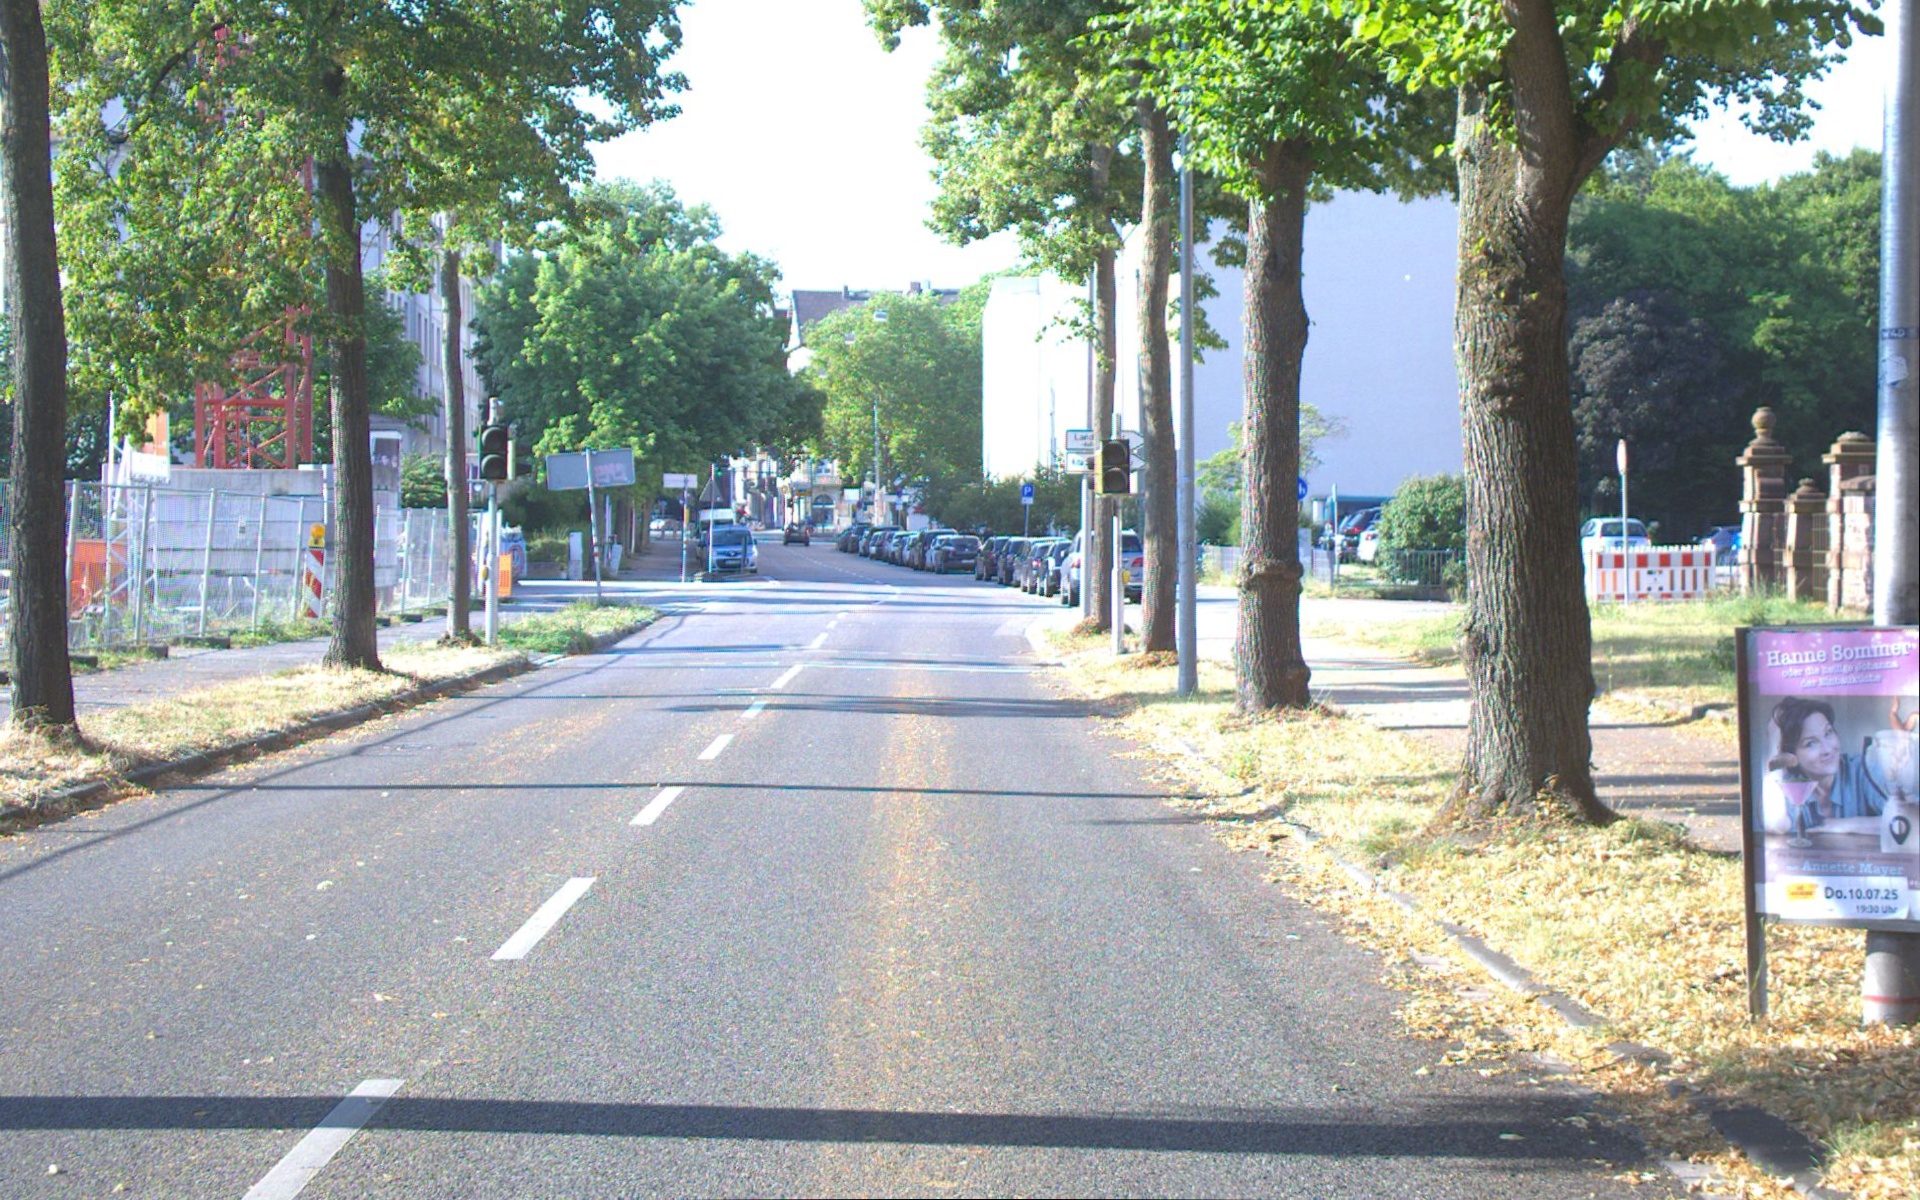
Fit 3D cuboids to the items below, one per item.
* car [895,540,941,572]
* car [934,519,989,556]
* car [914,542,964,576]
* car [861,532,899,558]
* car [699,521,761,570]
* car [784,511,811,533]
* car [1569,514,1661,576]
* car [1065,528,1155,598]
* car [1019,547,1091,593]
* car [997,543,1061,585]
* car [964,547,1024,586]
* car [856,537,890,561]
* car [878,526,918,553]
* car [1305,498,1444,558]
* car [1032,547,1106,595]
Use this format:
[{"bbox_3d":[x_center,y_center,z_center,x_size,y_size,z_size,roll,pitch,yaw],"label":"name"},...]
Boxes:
[{"bbox_3d":[-1.930,-1.997,155.306,1.841,1.381,4.001,0,1,-4],"label":"car"},{"bbox_3d":[0.049,-2.408,132.386,1.841,1.381,4.001,0,1,-4],"label":"car"},{"bbox_3d":[-0.884,-1.702,143.055,1.841,1.381,4.001,0,1,-4],"label":"car"},{"bbox_3d":[-4.259,-2.919,182.361,1.841,1.381,4.001,0,1,-4],"label":"car"},{"bbox_3d":[-8.013,-1.888,119.449,1.993,1.682,4.001,0,1,-6],"label":"car"},{"bbox_3d":[-11.159,-5.346,236.124,1.714,1.481,4.001,-1,1,-4],"label":"car"},{"bbox_3d":[17.520,-1.453,92.075,1.812,1.554,3.625,2,0,2],"label":"car"},{"bbox_3d":[3.474,-0.866,80.078,1.841,1.568,4.000,0,1,-1],"label":"car"},{"bbox_3d":[2.663,-0.866,96.827,1.841,1.256,4.000,0,1,-1],"label":"car"},{"bbox_3d":[2.139,-1.131,107.064,1.841,1.256,4.000,0,1,-1],"label":"car"},{"bbox_3d":[1.111,-1.119,114.111,1.841,1.256,4.000,0,1,-1],"label":"car"},{"bbox_3d":[-5.205,-3.056,205.508,1.841,1.381,4.001,-2,1,-3],"label":"car"},{"bbox_3d":[-3.182,-3.100,175.977,1.841,1.381,4.001,0,1,-4],"label":"car"},{"bbox_3d":[12.604,-2.189,104.643,3.987,1.722,1.773,2,1,1],"label":"car"},{"bbox_3d":[2.878,-0.782,91.425,1.779,1.223,4.000,0,1,-1],"label":"car"}]
